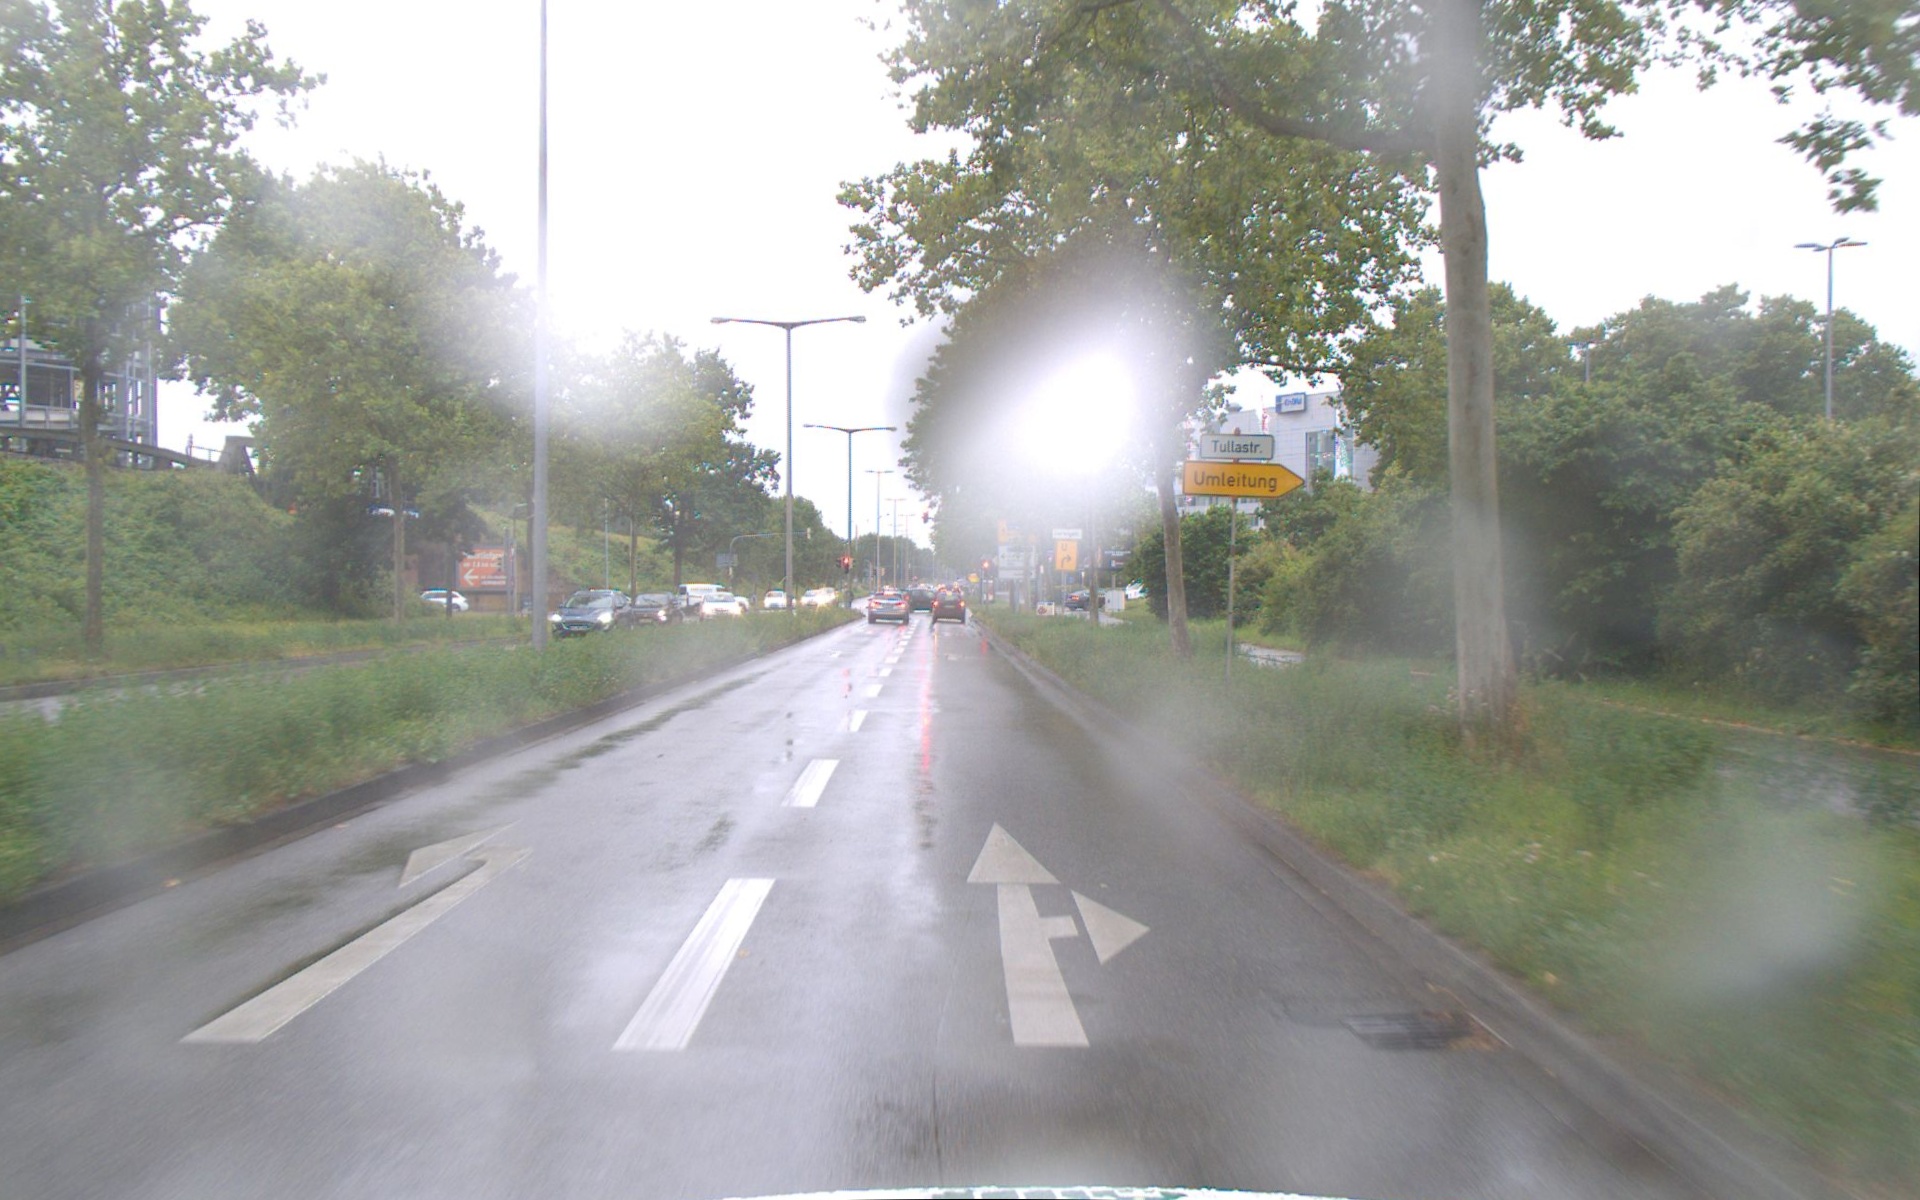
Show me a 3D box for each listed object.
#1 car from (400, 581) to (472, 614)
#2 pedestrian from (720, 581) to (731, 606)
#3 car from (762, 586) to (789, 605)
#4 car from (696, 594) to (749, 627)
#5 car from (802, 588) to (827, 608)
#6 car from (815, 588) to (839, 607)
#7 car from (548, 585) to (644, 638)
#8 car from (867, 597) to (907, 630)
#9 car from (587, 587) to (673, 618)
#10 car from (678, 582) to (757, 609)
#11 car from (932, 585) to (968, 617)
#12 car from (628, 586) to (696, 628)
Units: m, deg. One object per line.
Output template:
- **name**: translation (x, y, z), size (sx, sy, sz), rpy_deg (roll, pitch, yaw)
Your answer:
- **car**: translation (-31.249, -0.143, 98.637), size (3.931, 1.878, 1.987), rpy_deg (2, -1, -22)
- **pedestrian**: translation (-17.382, -0.472, 122.593), size (0.522, 1.817, 0.673), rpy_deg (1, -1, 17)
- **car**: translation (-14.697, -0.363, 131.776), size (1.677, 1.557, 4.000), rpy_deg (0, 0, -1)
- **car**: translation (-11.117, 0.464, 77.740), size (1.891, 1.470, 4.656), rpy_deg (1, 0, -1)
- **car**: translation (-11.700, -0.194, 133.019), size (1.677, 1.557, 4.000), rpy_deg (0, 0, -1)
- **car**: translation (-11.265, -0.224, 140.348), size (1.677, 1.557, 4.000), rpy_deg (0, 0, -1)
- **car**: translation (-10.741, 0.321, 49.046), size (1.891, 1.470, 4.496), rpy_deg (1, 0, -1)
- **car**: translation (-3.369, 0.604, 76.637), size (1.655, 1.458, 4.574), rpy_deg (1, 0, -1)
- **car**: translation (-17.648, 0.124, 88.633), size (4.419, 1.617, 1.859), rpy_deg (0, 0, -8)
- **car**: translation (-14.361, -0.282, 98.037), size (4.326, 1.564, 1.784), rpy_deg (0, 0, -30)
- **car**: translation (-0.505, 0.055, 85.071), size (1.759, 1.564, 4.387), rpy_deg (2, 0, -1)
- **car**: translation (-10.989, 0.243, 61.160), size (1.891, 1.470, 3.707), rpy_deg (1, 0, -1)
